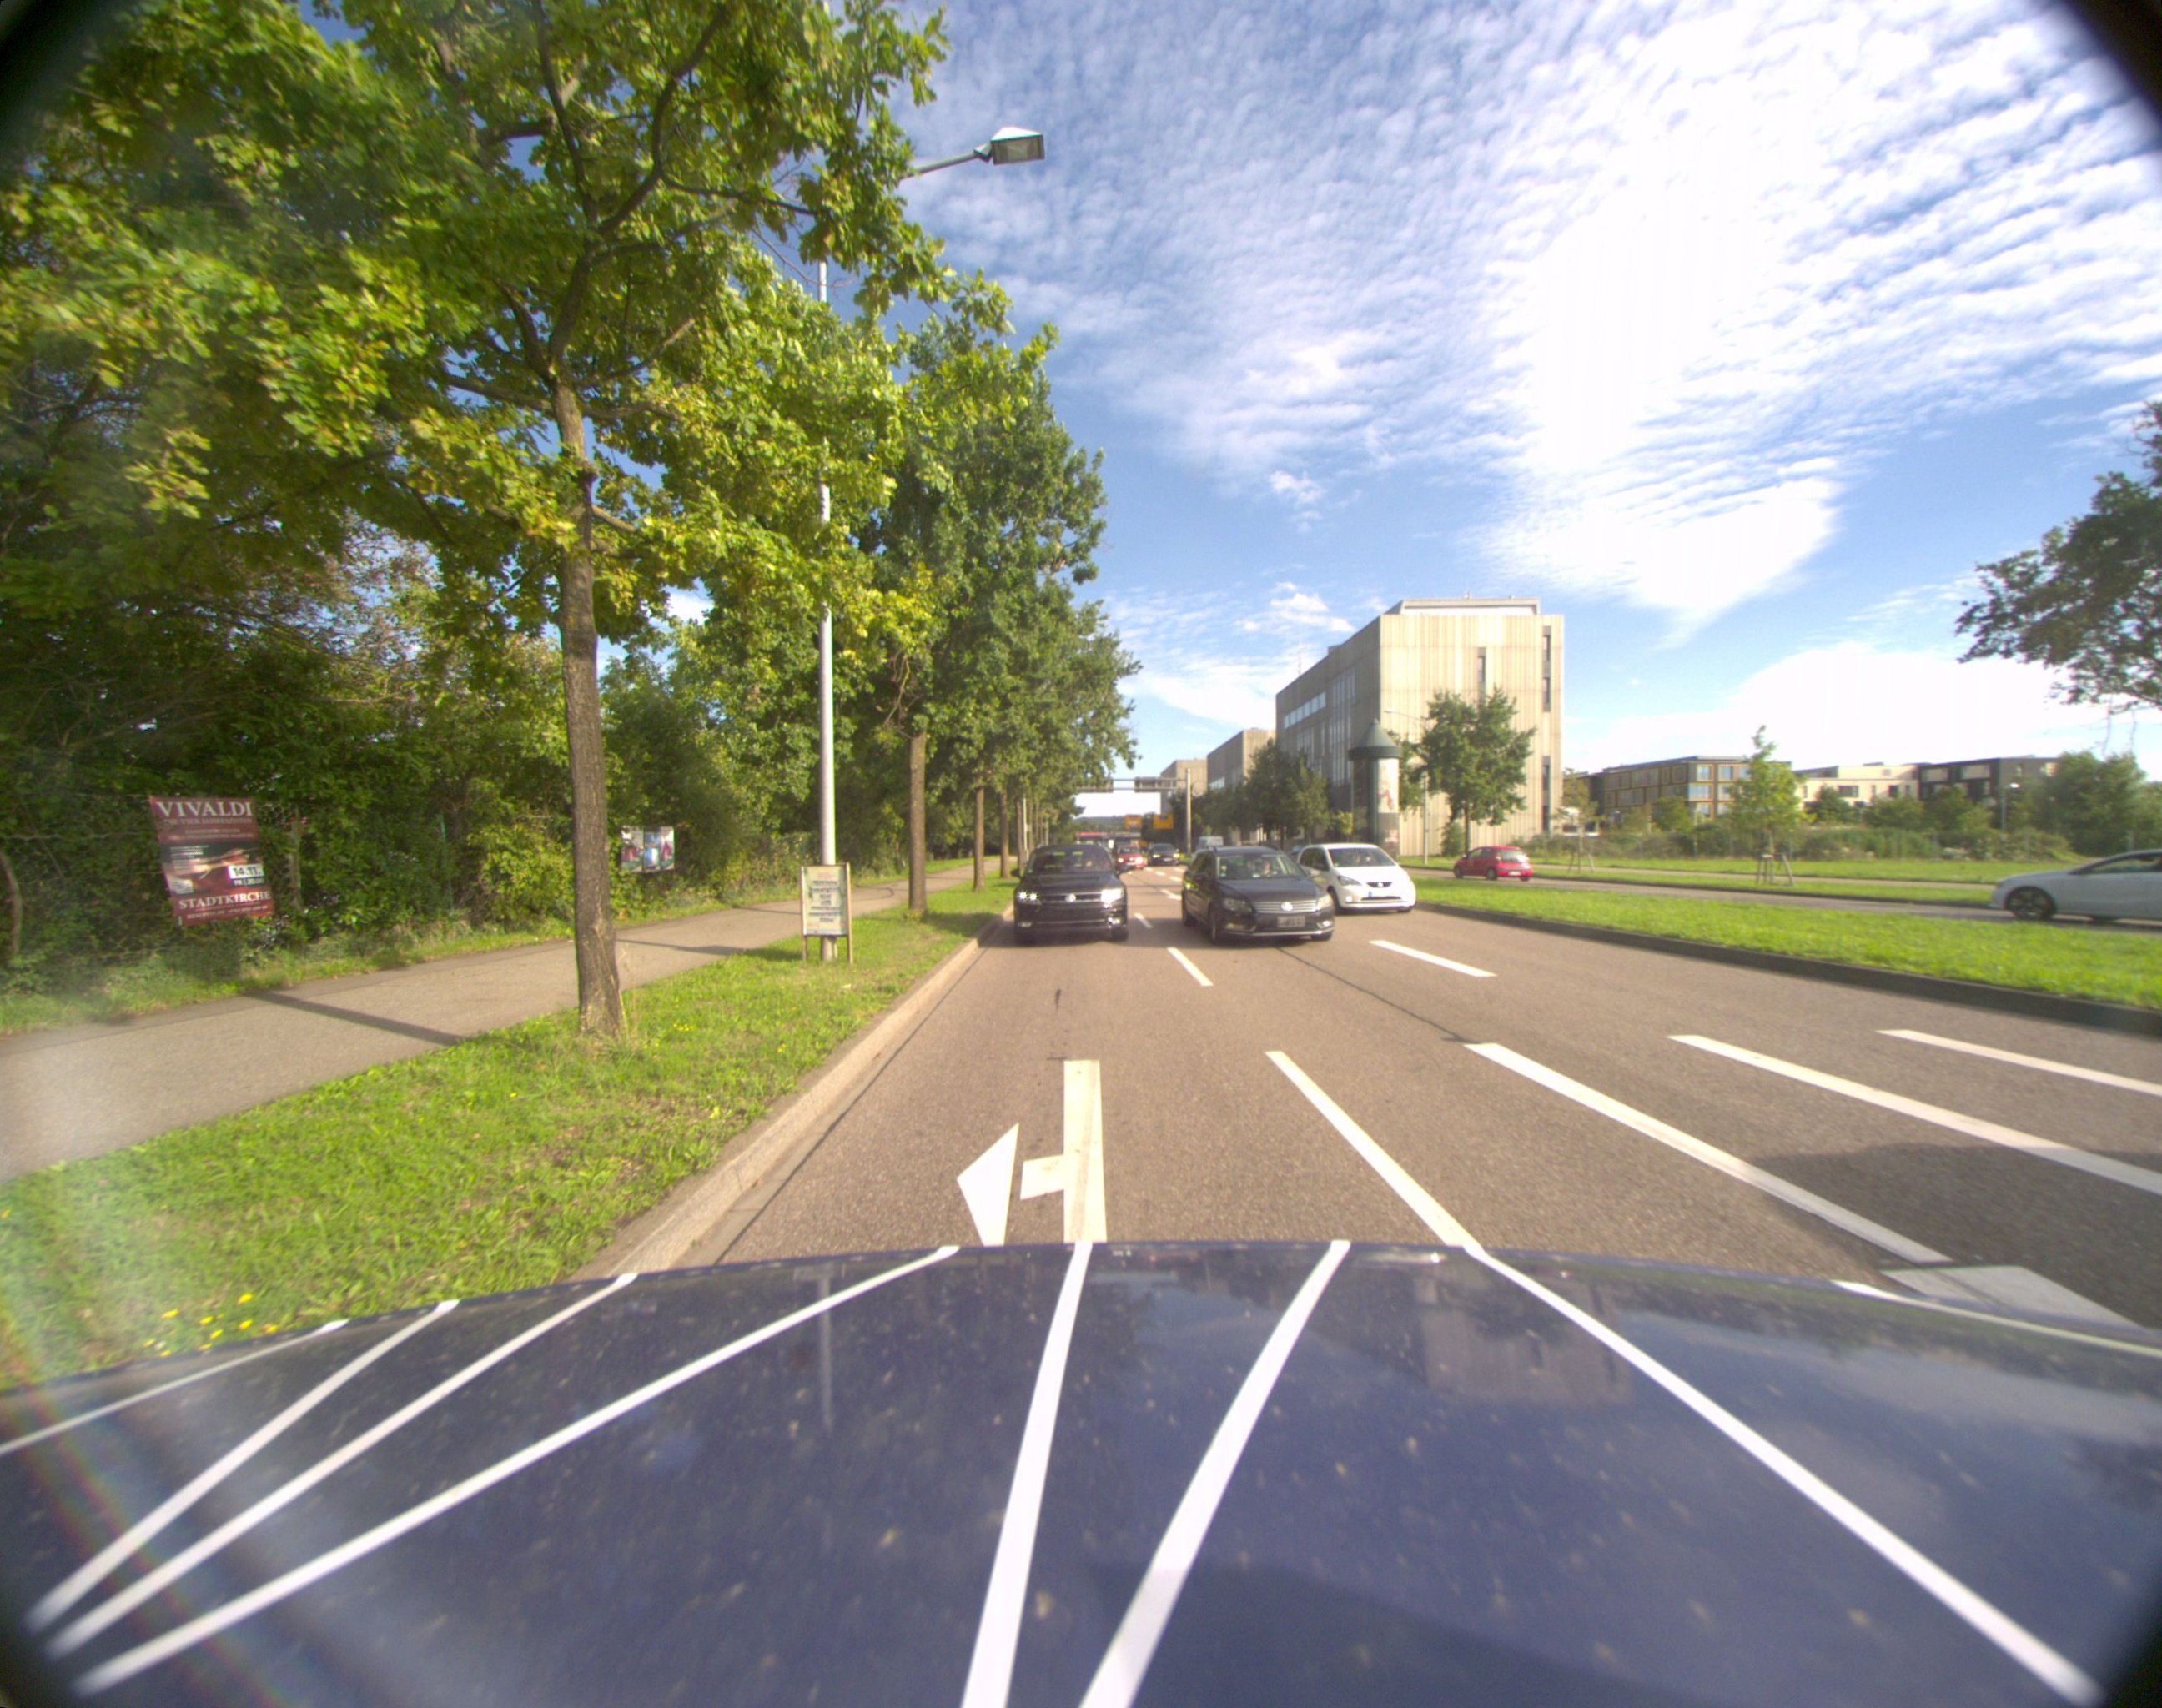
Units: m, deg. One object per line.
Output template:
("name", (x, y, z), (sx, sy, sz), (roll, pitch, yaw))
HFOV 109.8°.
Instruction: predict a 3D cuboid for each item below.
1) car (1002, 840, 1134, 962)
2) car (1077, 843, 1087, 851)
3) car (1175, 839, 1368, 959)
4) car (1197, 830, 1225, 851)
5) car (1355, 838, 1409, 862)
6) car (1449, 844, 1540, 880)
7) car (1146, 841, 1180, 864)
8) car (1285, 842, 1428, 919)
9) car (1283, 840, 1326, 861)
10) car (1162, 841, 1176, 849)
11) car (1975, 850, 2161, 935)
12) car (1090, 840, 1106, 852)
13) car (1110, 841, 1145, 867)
("car", (-0.240, 0.653, 13.674), (1.872, 1.685, 5.013), (-3, 1, -1))
("car", (0.136, -1.161, 129.999), (1.737, 1.381, 3.999), (0, 1, -1))
("car", (2.916, 0.574, 12.838), (1.998, 1.557, 4.843), (-3, 1, 0))
("car", (14.914, -1.572, 87.369), (2.032, 2.242, 5.539), (1, 1, -3))
("car", (20.649, -0.310, 52.348), (1.855, 1.563, 4.453), (1, 1, -1))
("car", (17.522, 0.308, 32.391), (1.685, 1.425, 3.588), (0, 1, -5))
("car", (5.454, -0.125, 51.113), (1.823, 1.412, 4.446), (-2, 1, 1))
("car", (5.882, 0.489, 16.699), (1.766, 1.456, 3.659), (-2, 1, -1))
("car", (16.010, -0.291, 54.639), (1.855, 1.425, 4.067), (1, 1, -1))
("car", (15.819, -1.637, 136.781), (1.855, 1.456, 4.453), (-2, 1, -1))
("car", (19.188, 0.659, 13.546), (1.685, 1.425, 3.992), (0, 1, -3))
("car", (2.440, -1.222, 110.788), (1.999, 1.652, 4.801), (0, 1, -2))
("car", (2.768, -0.006, 45.919), (1.694, 1.466, 4.225), (-1, 1, -2))
